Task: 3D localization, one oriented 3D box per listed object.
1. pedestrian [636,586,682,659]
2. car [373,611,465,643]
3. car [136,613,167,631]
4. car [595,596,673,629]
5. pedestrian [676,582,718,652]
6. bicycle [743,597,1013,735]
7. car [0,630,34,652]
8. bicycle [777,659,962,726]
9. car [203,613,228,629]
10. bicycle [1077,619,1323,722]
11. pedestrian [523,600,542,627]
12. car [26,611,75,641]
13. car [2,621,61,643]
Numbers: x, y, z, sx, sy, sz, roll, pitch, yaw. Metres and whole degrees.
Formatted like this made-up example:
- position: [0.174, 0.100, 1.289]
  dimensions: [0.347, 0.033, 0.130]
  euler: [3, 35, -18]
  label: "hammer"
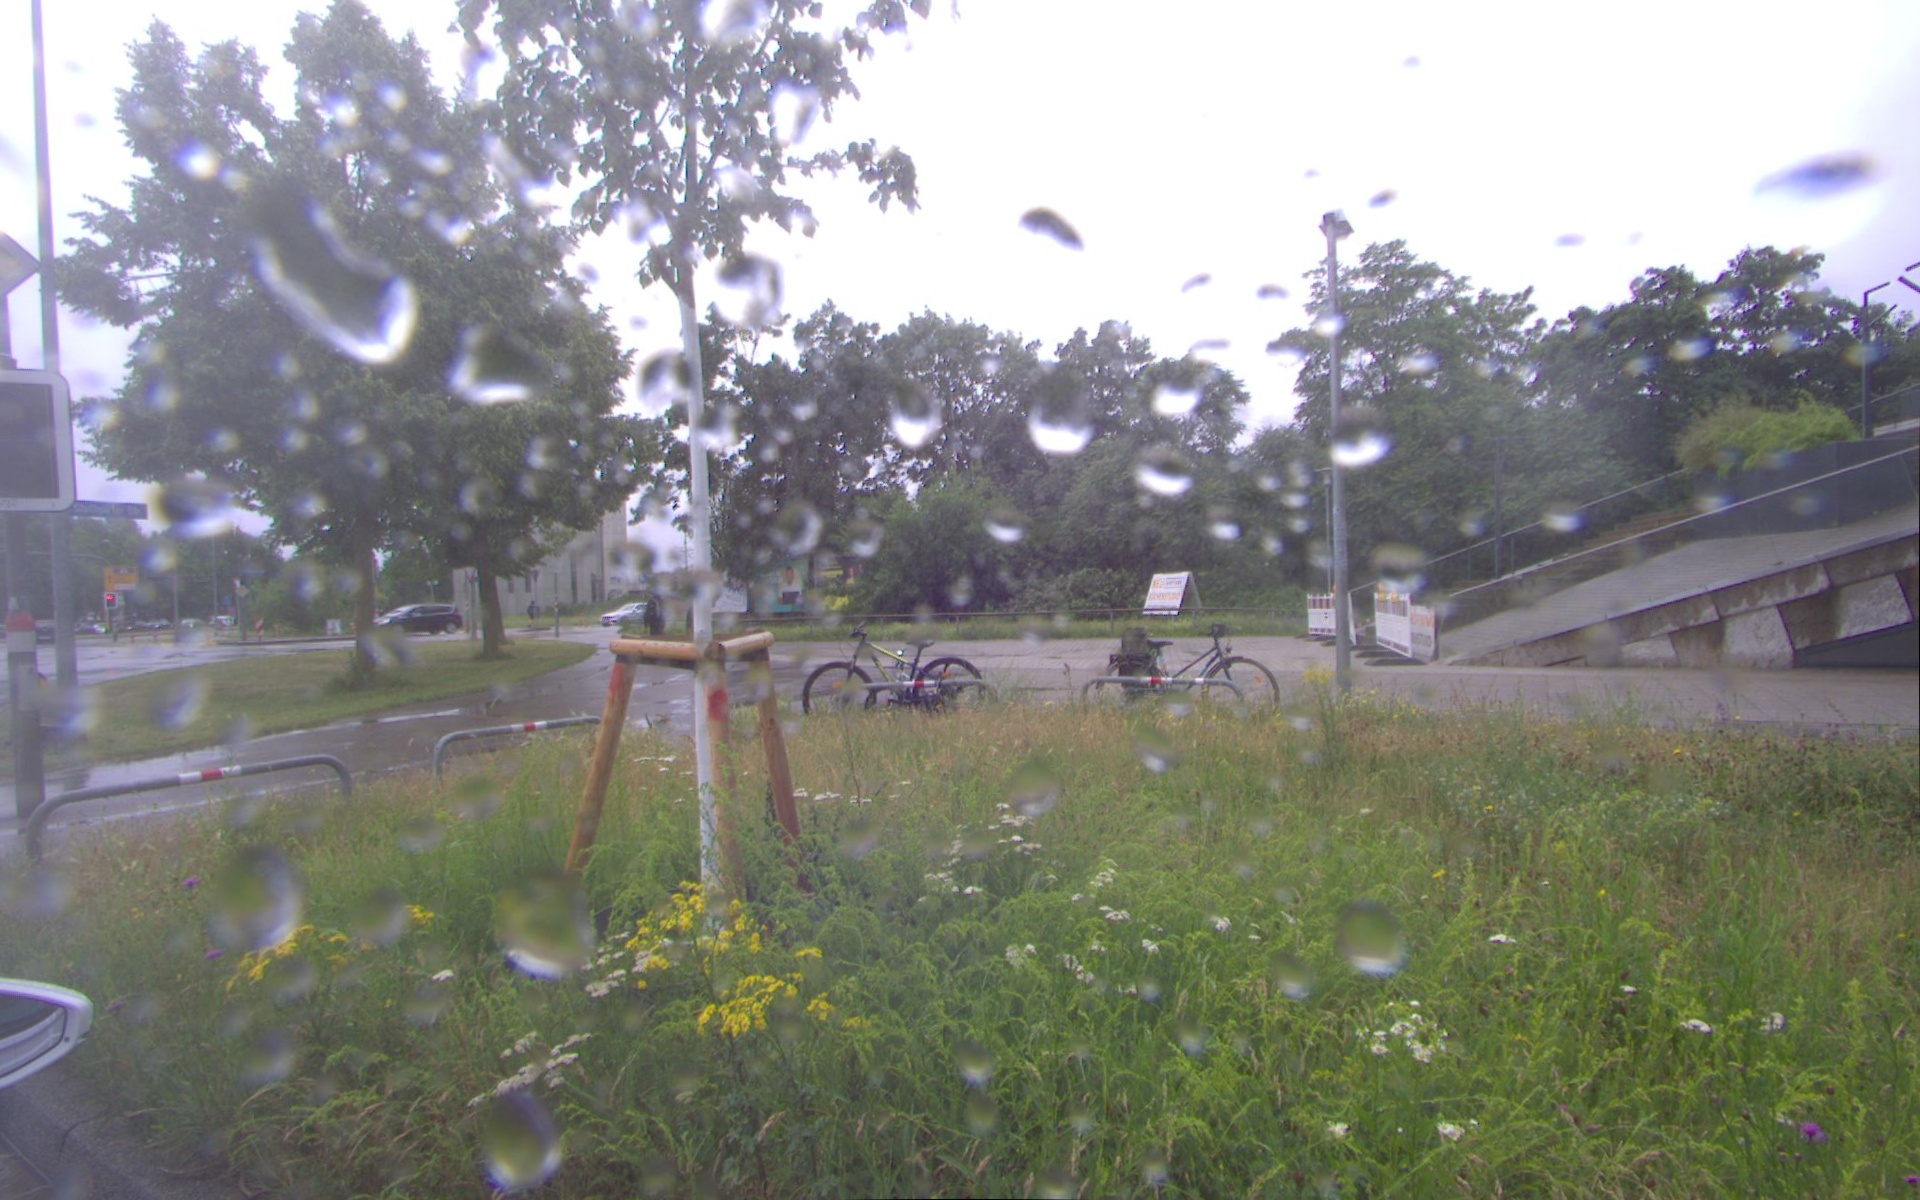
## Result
- position: [-7.488, 0.567, 24.951]
  dimensions: [0.906, 1.807, 0.808]
  euler: [0, -1, -3]
  label: "pedestrian"
- position: [-28.719, 1.450, 53.237]
  dimensions: [1.766, 1.668, 3.974]
  euler: [-1, -2, 37]
  label: "car"
- position: [-95.171, 2.576, 117.892]
  dimensions: [1.763, 2.039, 3.665]
  euler: [0, -2, -20]
  label: "car"
- position: [-21.394, 0.791, 65.940]
  dimensions: [1.763, 1.836, 4.809]
  euler: [0, 3, 32]
  label: "car"
- position: [-6.891, 0.441, 26.250]
  dimensions: [0.906, 1.807, 0.808]
  euler: [0, -1, -3]
  label: "pedestrian"
- position: [-0.764, 0.584, 9.465]
  dimensions: [2.480, 1.205, 0.552]
  euler: [-1, 1, -17]
  label: "bicycle"
- position: [-76.762, 3.290, 79.887]
  dimensions: [1.744, 1.766, 4.867]
  euler: [0, -2, -7]
  label: "car"
- position: [-0.878, 0.892, 9.825]
  dimensions: [1.771, 0.566, 0.320]
  euler: [-1, 1, -17]
  label: "bicycle"
- position: [-100.574, 2.873, 135.268]
  dimensions: [1.763, 2.039, 3.665]
  euler: [0, -2, -20]
  label: "car"
- position: [2.199, 0.614, 9.271]
  dimensions: [2.129, 0.858, 0.634]
  euler: [-1, 0, 27]
  label: "bicycle"
- position: [-28.045, 0.891, 65.743]
  dimensions: [0.705, 1.794, 0.948]
  euler: [-1, -2, 42]
  label: "pedestrian"
- position: [-47.748, 1.326, 52.547]
  dimensions: [3.217, 1.512, 1.679]
  euler: [0, 1, 44]
  label: "car"
- position: [-79.136, 2.739, 85.407]
  dimensions: [1.964, 1.772, 3.996]
  euler: [0, -2, -14]
  label: "car"
